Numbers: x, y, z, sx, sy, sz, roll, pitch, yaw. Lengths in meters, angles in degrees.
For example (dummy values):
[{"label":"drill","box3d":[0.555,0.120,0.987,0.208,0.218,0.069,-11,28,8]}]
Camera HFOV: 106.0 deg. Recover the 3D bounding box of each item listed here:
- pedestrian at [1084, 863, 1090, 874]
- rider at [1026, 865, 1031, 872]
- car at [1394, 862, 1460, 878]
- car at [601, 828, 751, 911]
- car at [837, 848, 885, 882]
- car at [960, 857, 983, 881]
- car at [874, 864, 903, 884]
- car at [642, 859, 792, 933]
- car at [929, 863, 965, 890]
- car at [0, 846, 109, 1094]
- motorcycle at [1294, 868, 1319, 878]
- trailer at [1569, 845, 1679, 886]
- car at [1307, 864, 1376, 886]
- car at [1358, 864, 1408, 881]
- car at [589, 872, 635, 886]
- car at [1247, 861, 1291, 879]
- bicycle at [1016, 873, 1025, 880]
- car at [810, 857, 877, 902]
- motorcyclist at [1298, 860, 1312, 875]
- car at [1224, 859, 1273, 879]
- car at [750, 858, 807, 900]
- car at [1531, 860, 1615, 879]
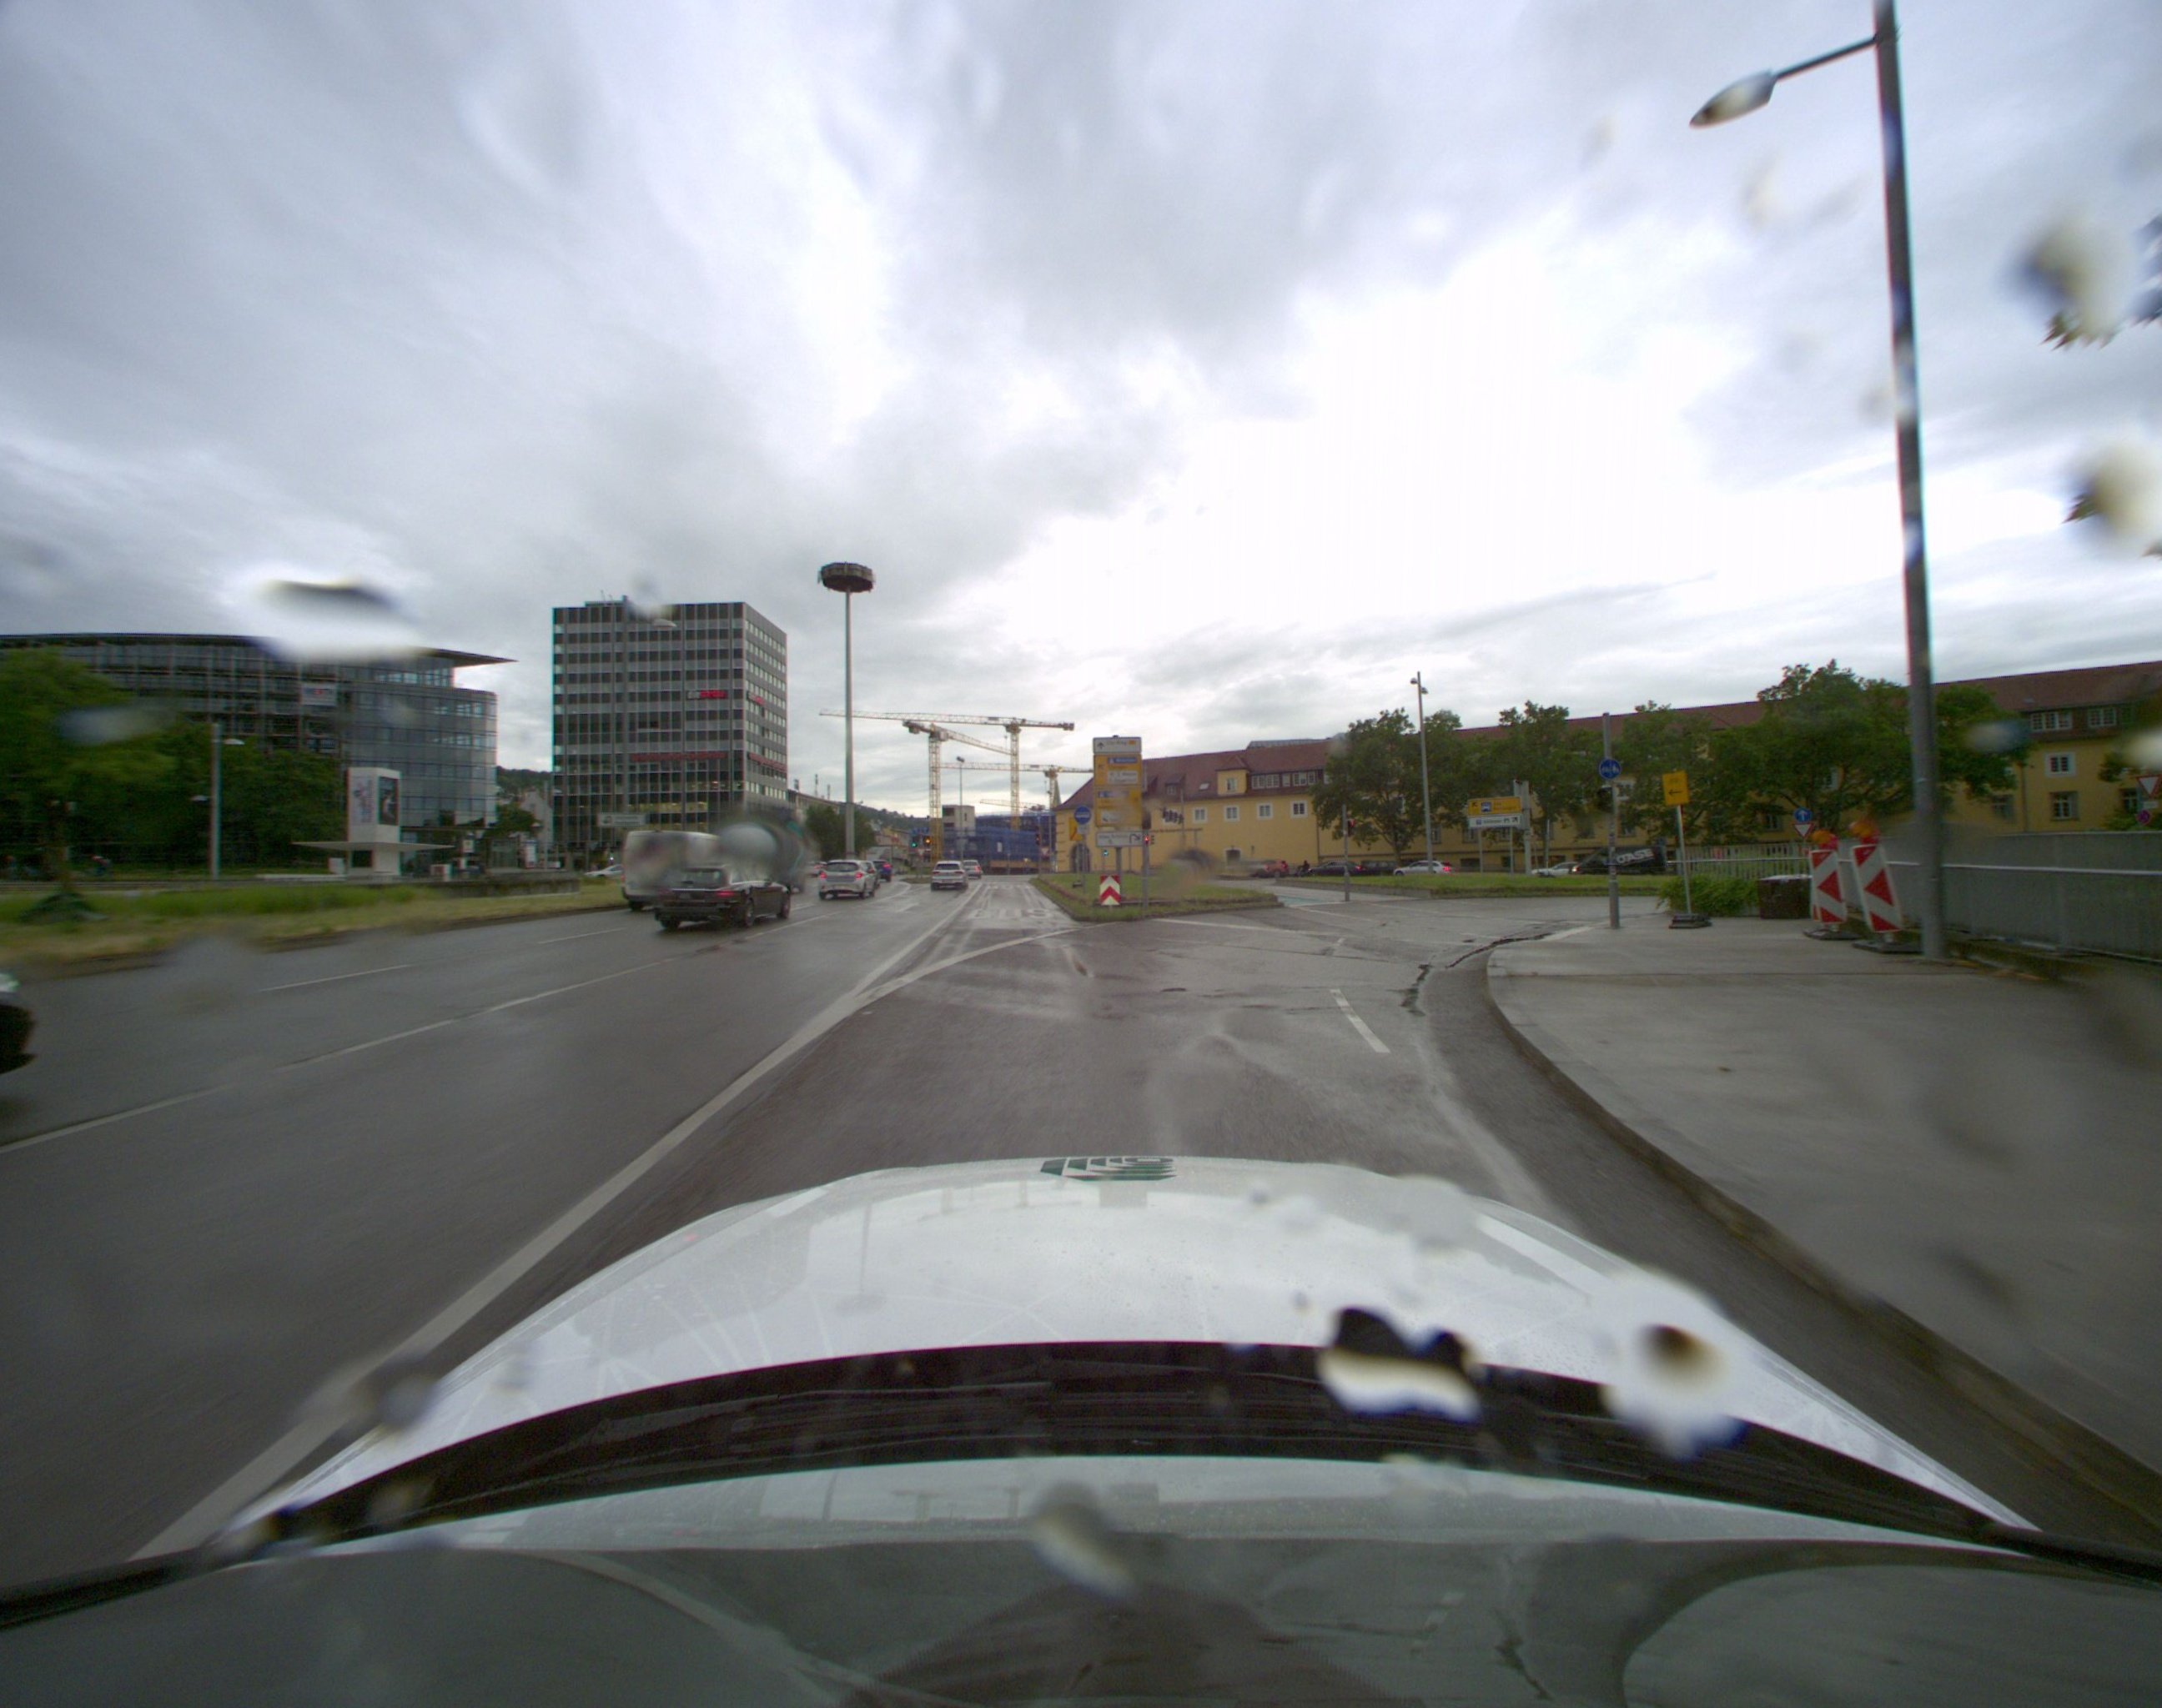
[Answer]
[{"label":"pedestrian","box3d":[0.720,1.734,96.629,0.450,1.368,0.447,-2,-3,35]},{"label":"rider","box3d":[-8.095,2.197,125.466,0.617,1.038,0.533,0,-2,-1]},{"label":"car","box3d":[25.722,1.191,60.617,1.548,1.140,4.330,1,-2,-36]},{"label":"car","box3d":[-12.322,0.524,25.264,2.287,2.314,5.000,0,-2,-2]},{"label":"car","box3d":[-11.354,0.603,42.223,1.712,1.728,3.490,0,-2,-3]},{"label":"car","box3d":[-8.696,1.178,64.440,1.667,1.741,3.277,1,1,-9]},{"label":"car","box3d":[-13.409,1.393,56.871,1.490,1.369,3.029,0,-2,-3]},{"label":"car","box3d":[-7.934,0.863,18.113,1.824,1.494,3.397,0,-1,-1]},{"label":"car","box3d":[-6.762,1.149,41.246,1.440,1.359,2.411,0,-2,0]},{"label":"car","box3d":[-7.176,0.686,3.216,1.750,1.471,4.216,0,0,-4]},{"label":"motorcycle","box3d":[19.237,1.630,69.461,1.947,0.853,0.548,-1,-2,19]},{"label":"trailer","box3d":[34.409,0.790,51.802,5.410,2.258,2.011,-3,-4,24]},{"label":"car","box3d":[20.567,1.665,64.449,4.756,1.709,2.012,-2,-3,39]},{"label":"car","box3d":[24.554,1.510,66.270,3.560,1.337,1.587,-1,-2,32]},{"label":"car","box3d":[-33.876,1.817,58.843,2.652,0.940,1.032,2,-3,-45]},{"label":"car","box3d":[15.703,1.329,67.858,3.370,1.472,1.661,-1,-2,21]},{"label":"bicycle","box3d":[-8.972,3.275,120.351,0.883,1.010,1.980,1,-2,-18]},{"label":"car","box3d":[-9.197,0.985,31.817,1.878,1.653,3.450,0,-2,-6]},{"label":"motorcyclist","box3d":[19.101,1.153,69.436,1.066,1.273,0.695,-1,-2,18]},{"label":"car","box3d":[12.930,1.200,62.755,3.372,1.482,1.845,-1,-2,22]},{"label":"car","box3d":[-12.800,1.066,34.661,1.462,1.706,3.135,0,-2,-5]},{"label":"car","box3d":[36.014,1.146,59.756,5.236,1.361,1.567,-1,-2,29]}]
